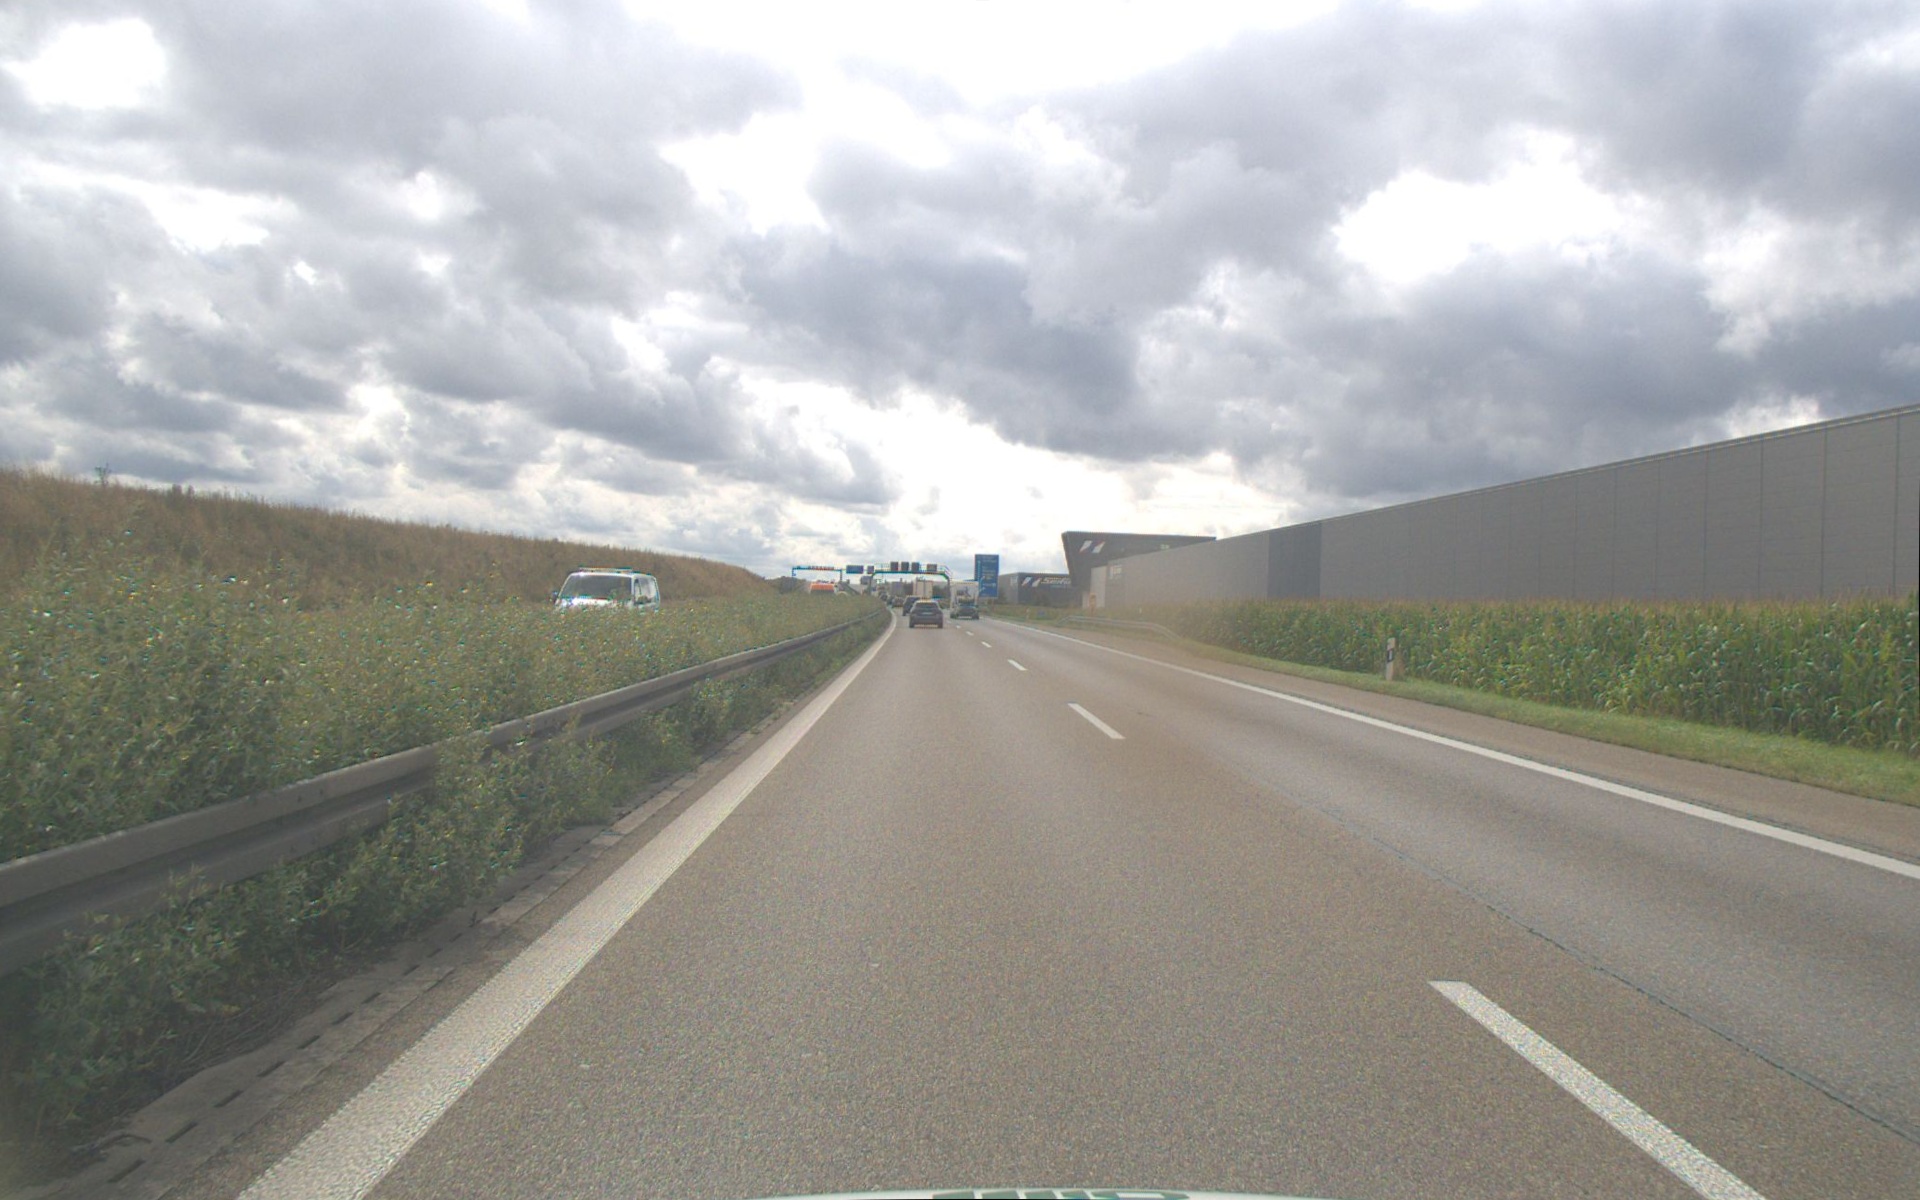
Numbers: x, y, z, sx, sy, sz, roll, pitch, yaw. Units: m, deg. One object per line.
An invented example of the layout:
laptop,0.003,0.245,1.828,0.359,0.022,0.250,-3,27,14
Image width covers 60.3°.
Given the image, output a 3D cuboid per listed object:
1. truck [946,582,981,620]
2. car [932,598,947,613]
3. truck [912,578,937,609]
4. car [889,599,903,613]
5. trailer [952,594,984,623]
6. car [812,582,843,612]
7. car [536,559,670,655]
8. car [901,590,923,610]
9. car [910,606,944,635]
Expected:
truck,0.241,0.115,135.282,2.433,3.002,5.810,1,0,-4
car,-2.591,0.700,207.181,1.765,1.714,3.998,1,1,-2
truck,-5.517,-0.948,254.829,3.273,4.613,8.010,1,0,-4
car,-8.933,0.859,231.313,1.904,1.806,3.694,1,0,-3
trailer,0.609,0.681,128.393,2.291,2.174,3.998,1,0,-2
car,-10.617,-0.200,132.695,2.081,2.306,5.451,1,0,-1
car,-8.237,0.171,38.682,1.953,2.049,5.530,1,0,-1
car,-4.338,0.011,148.827,1.906,1.714,3.998,1,0,-2
car,-1.779,1.079,87.860,1.711,1.478,3.998,1,0,-2
